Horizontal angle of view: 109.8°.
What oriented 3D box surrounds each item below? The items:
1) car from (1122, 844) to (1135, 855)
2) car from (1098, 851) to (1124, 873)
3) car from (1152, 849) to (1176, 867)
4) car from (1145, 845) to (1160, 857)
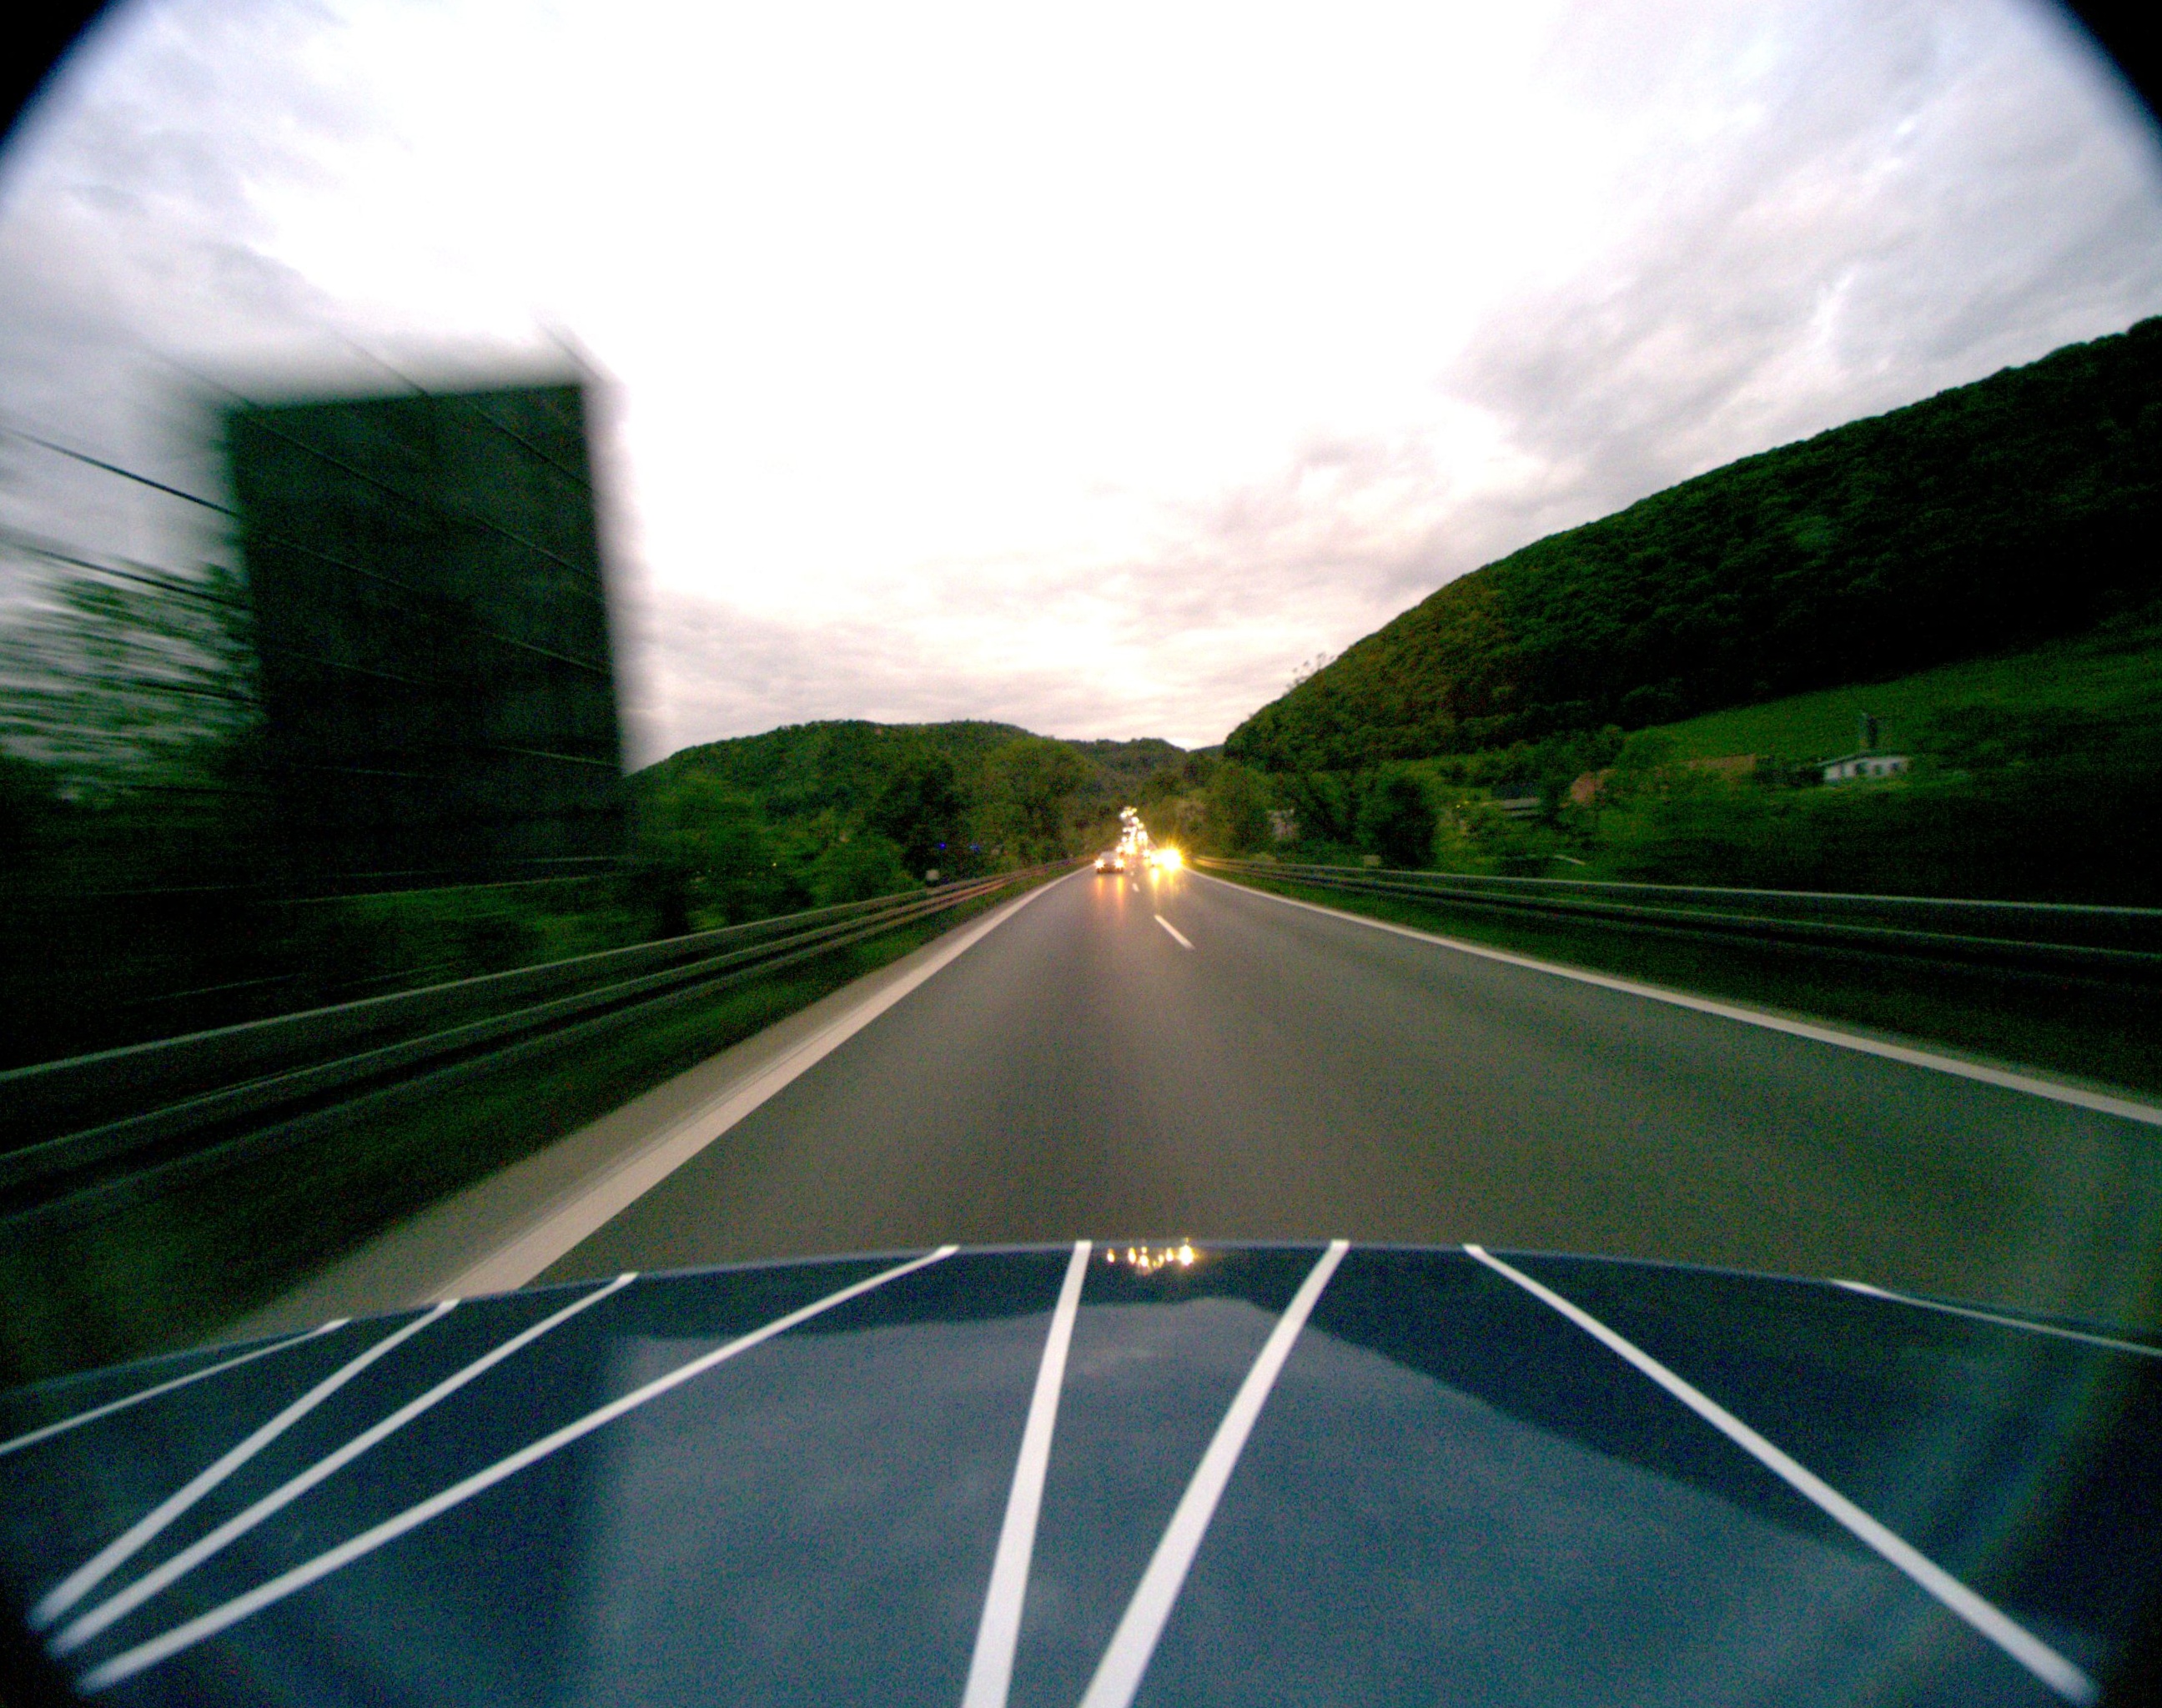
[{"bbox_3d":[7.120,-0.651,113.710,1.737,1.641,3.669,-3,-1,2],"label":"car"},{"bbox_3d":[2.118,0.557,52.999,1.690,1.443,3.669,-3,-1,2],"label":"car"},{"bbox_3d":[7.027,0.362,64.690,1.690,1.459,3.768,-3,-1,2],"label":"car"},{"bbox_3d":[9.036,-0.329,96.587,1.690,1.425,3.669,-3,-1,2],"label":"car"}]
